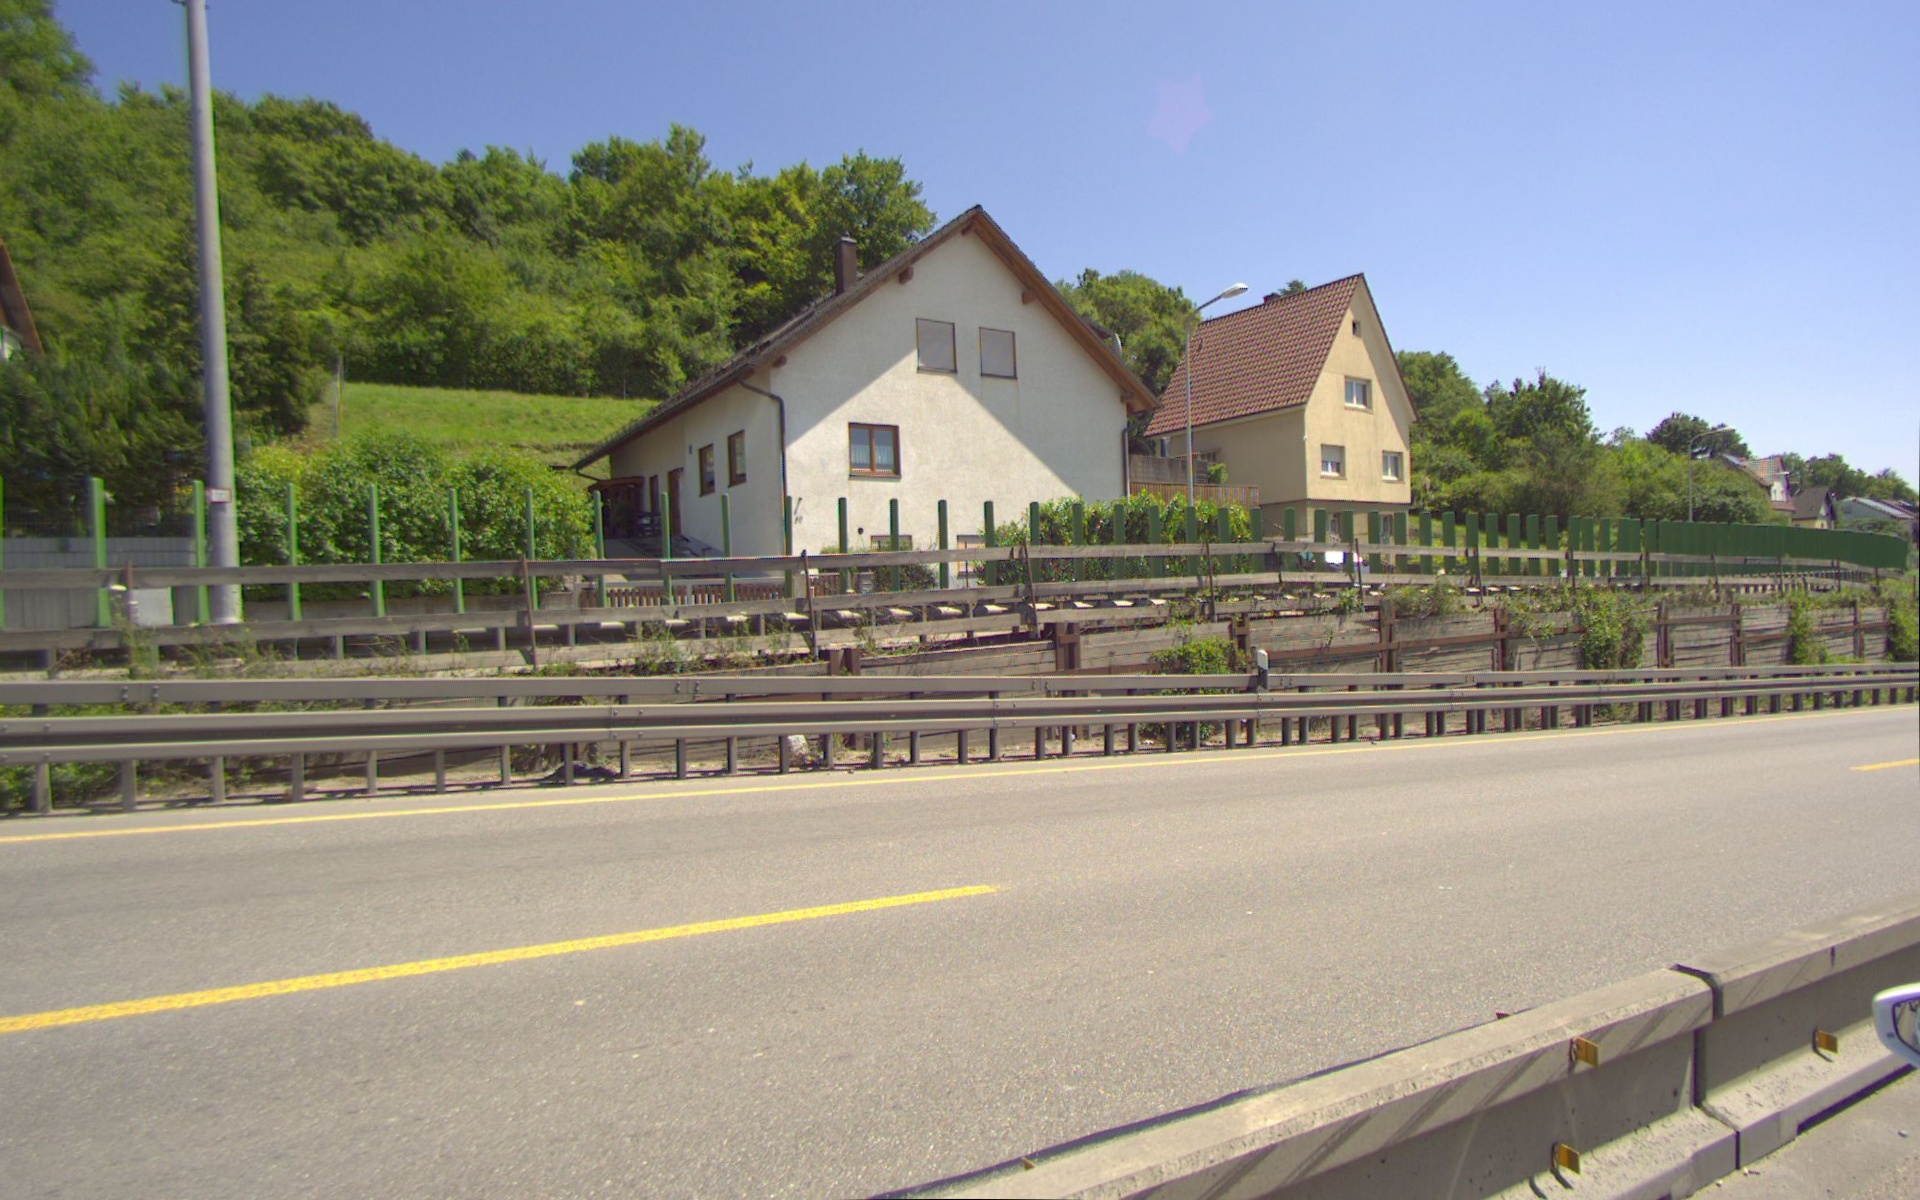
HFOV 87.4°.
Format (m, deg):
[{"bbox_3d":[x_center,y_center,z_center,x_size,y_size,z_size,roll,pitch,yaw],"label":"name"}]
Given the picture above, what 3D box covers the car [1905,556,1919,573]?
[{"bbox_3d":[89.722,-3.306,93.992,1.708,1.416,3.781,1,-1,41],"label":"car"}]
